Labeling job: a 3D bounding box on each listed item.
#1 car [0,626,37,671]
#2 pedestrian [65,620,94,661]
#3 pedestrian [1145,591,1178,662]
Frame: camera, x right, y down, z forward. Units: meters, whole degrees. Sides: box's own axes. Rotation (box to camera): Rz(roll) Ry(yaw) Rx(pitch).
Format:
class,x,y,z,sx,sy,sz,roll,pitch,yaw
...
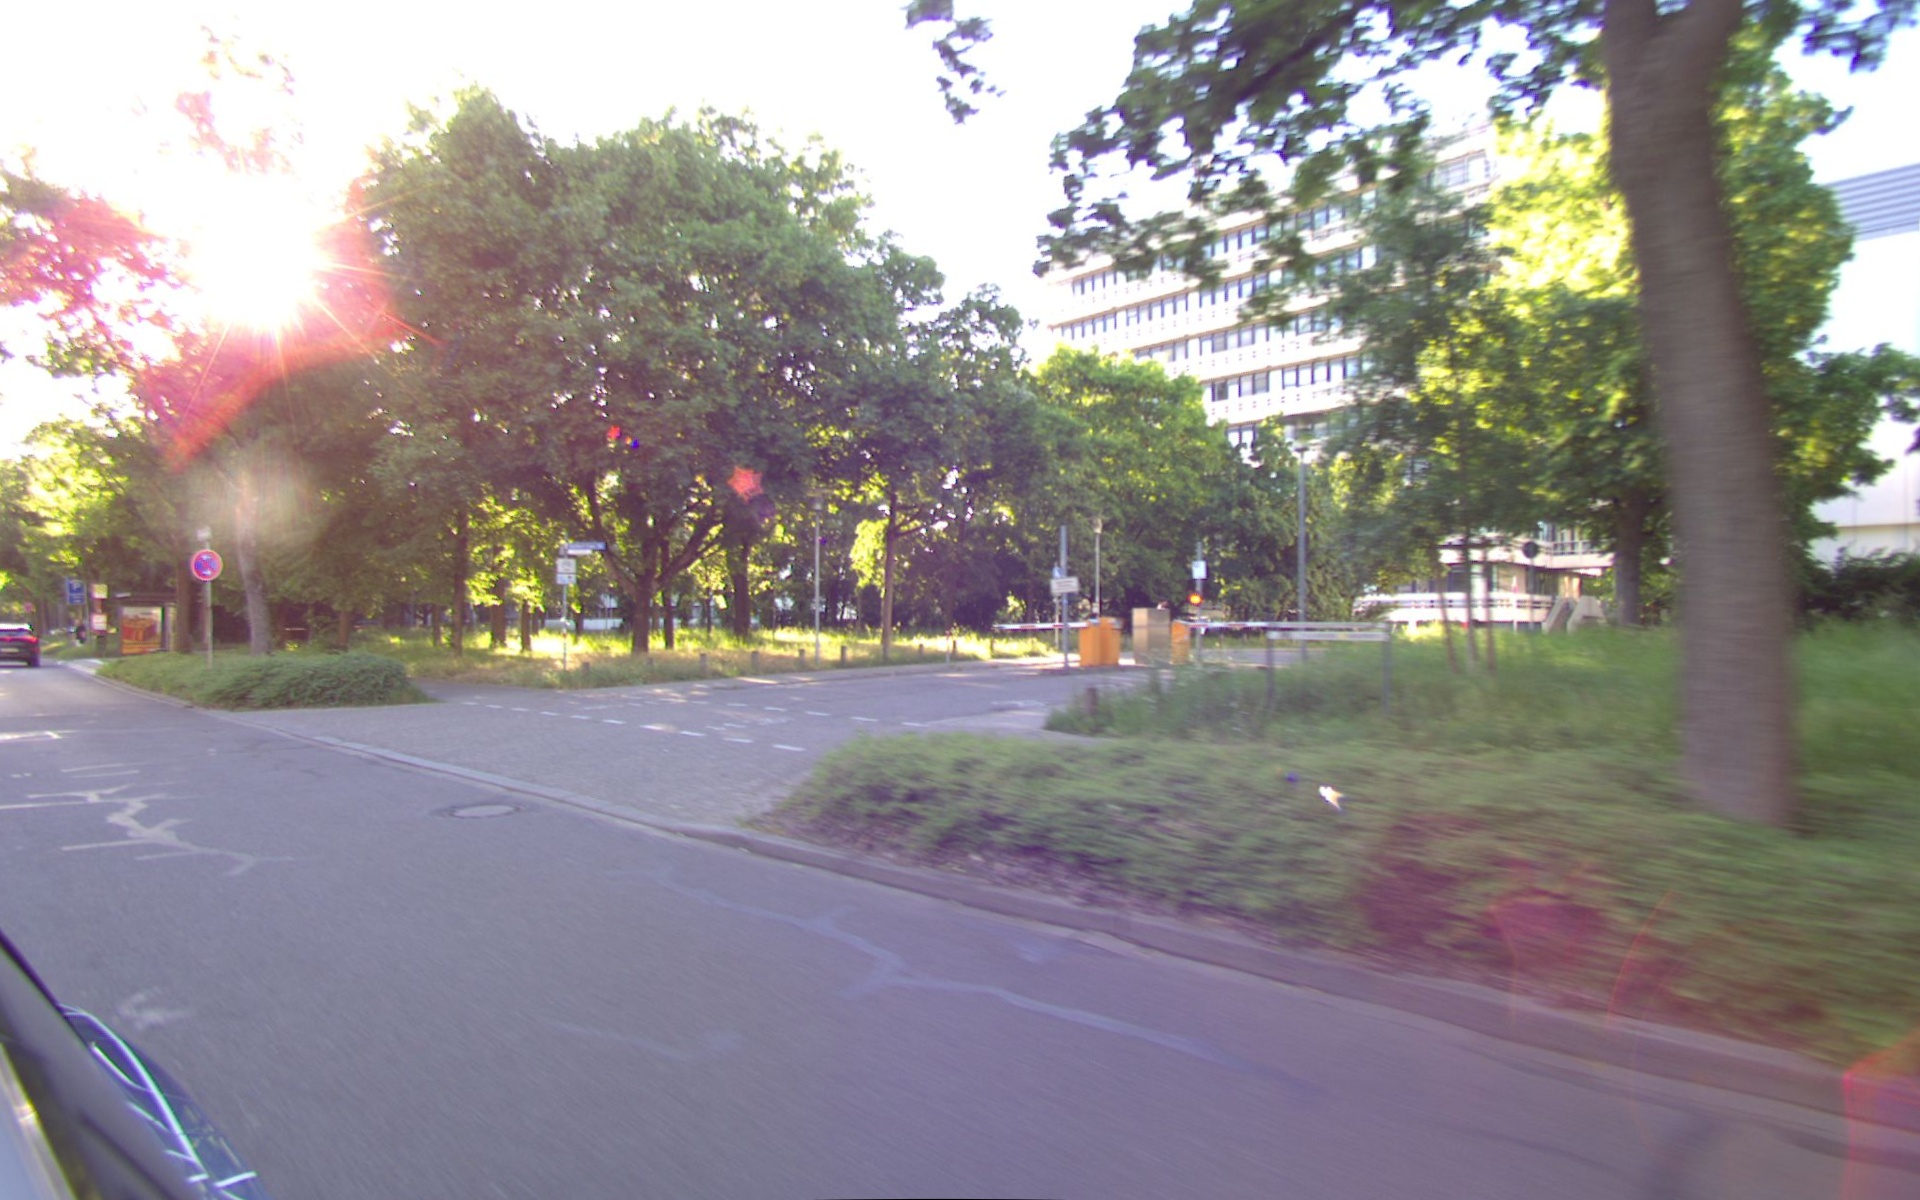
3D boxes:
class,x,y,z,sx,sy,sz,roll,pitch,yaw
car,-35.858,1.795,37.787,1.823,1.591,4.338,3,-4,-45
pedestrian,-40.082,1.816,46.074,0.720,1.835,0.893,-2,-2,42
pedestrian,5.833,0.769,29.303,0.747,2.029,0.591,0,-1,-43
